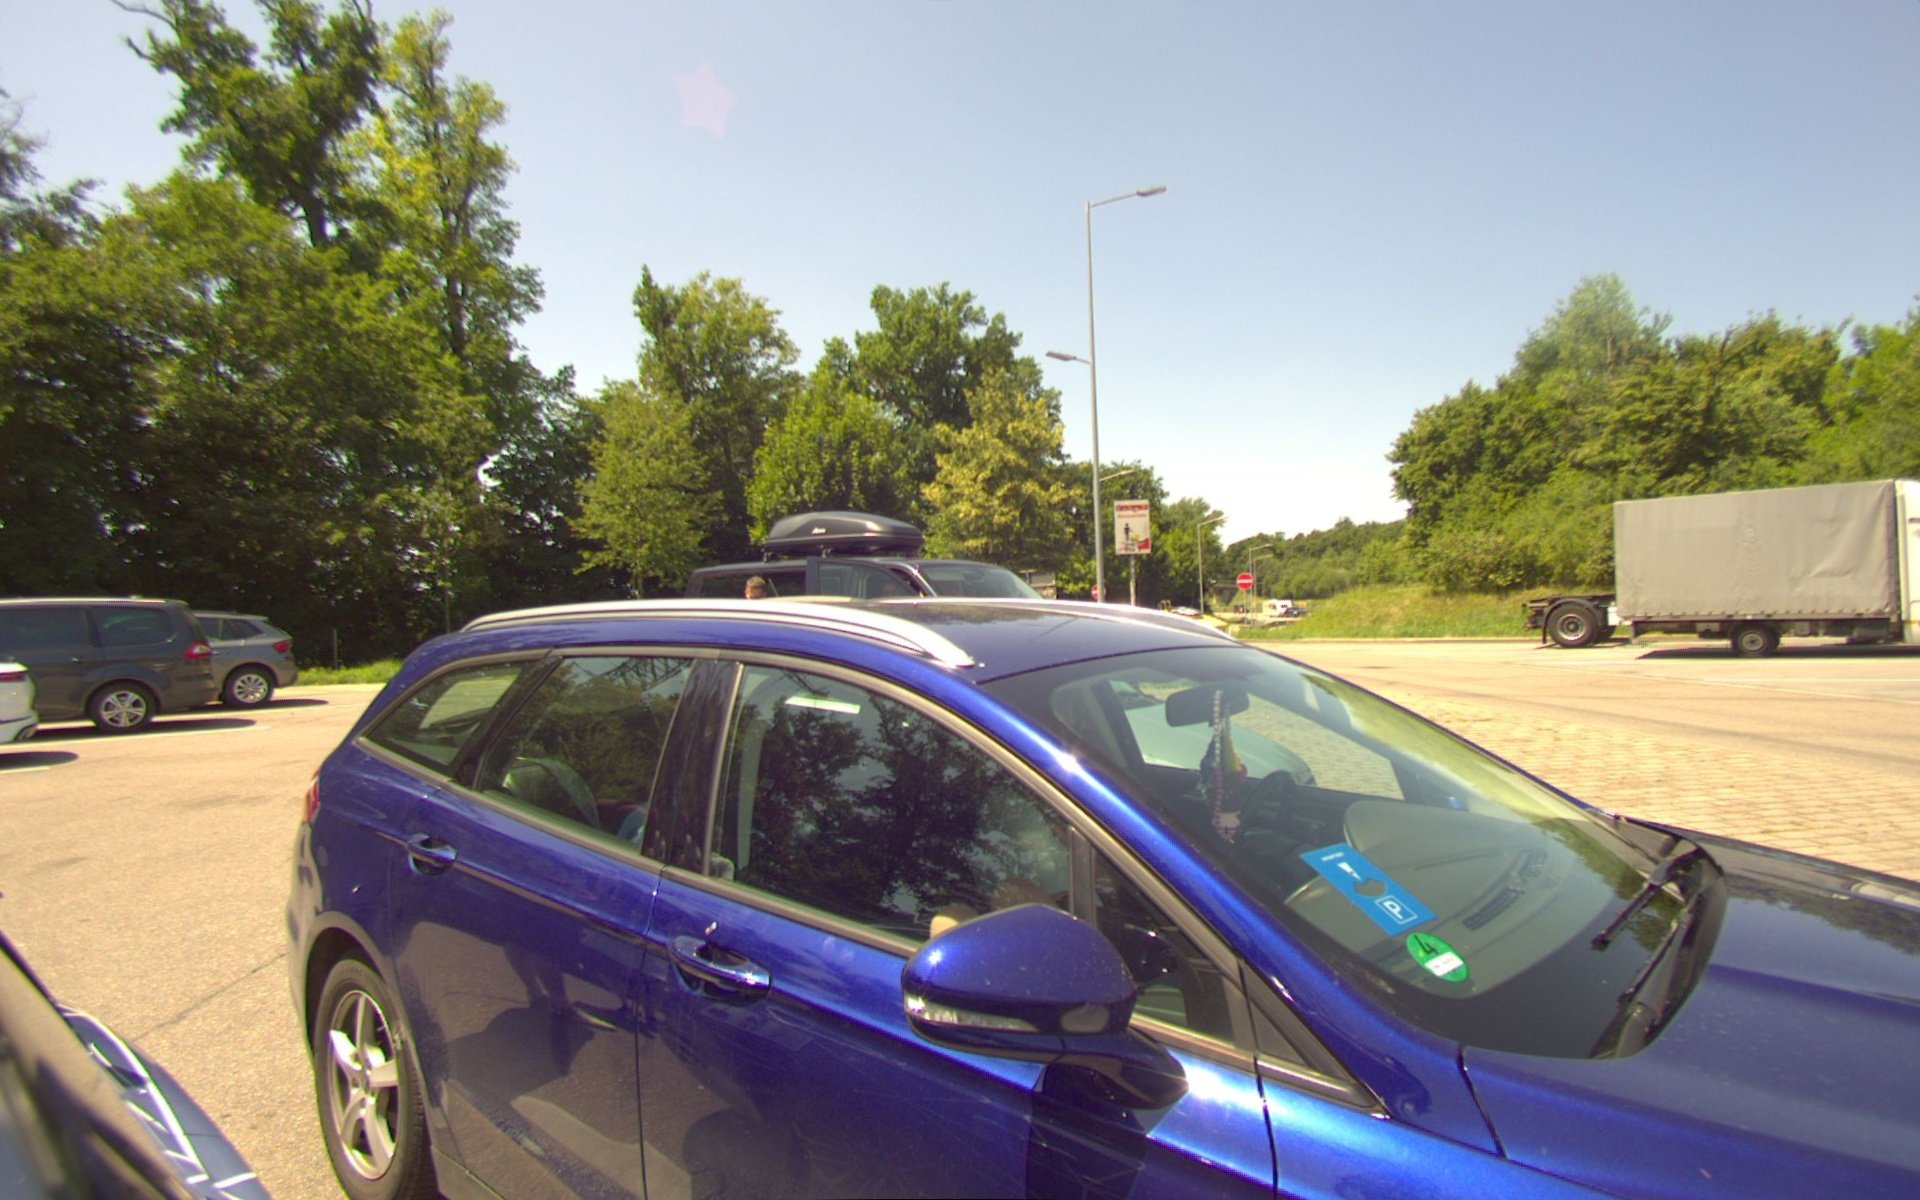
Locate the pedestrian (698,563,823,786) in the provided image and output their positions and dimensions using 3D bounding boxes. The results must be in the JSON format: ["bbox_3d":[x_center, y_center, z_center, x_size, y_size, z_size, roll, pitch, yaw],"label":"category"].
[{"bbox_3d":[-1.698,0.591,8.588,0.743,1.767,0.787,-1,0,-38],"label":"pedestrian"}]

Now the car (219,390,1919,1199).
[{"bbox_3d":[0.231,0.633,2.077,4.569,1.482,1.735,-3,0,40],"label":"car"}]

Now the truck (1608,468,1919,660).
[{"bbox_3d":[16.778,-0.644,19.017,7.274,3.269,2.678,-4,-1,42],"label":"truck"}]

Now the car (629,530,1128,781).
[{"bbox_3d":[-0.895,0.498,9.663,4.558,1.912,1.740,-3,0,32],"label":"car"}]

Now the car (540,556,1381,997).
[{"bbox_3d":[-0.324,0.669,5.614,4.569,1.517,1.735,-3,0,40],"label":"car"}]

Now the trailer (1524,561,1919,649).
[{"bbox_3d":[17.702,0.161,23.114,8.098,1.638,2.187,-4,-1,41],"label":"trailer"}]

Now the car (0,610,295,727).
[{"bbox_3d":[-12.626,0.969,15.666,3.767,1.572,1.654,-1,0,-38],"label":"car"}]

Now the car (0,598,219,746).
[{"bbox_3d":[-11.634,0.864,12.659,3.767,1.708,1.654,-1,0,-38],"label":"car"}]

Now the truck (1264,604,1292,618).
[{"bbox_3d":[49.050,1.665,156.304,2.304,2.029,5.203,-1,0,-5],"label":"truck"}]
